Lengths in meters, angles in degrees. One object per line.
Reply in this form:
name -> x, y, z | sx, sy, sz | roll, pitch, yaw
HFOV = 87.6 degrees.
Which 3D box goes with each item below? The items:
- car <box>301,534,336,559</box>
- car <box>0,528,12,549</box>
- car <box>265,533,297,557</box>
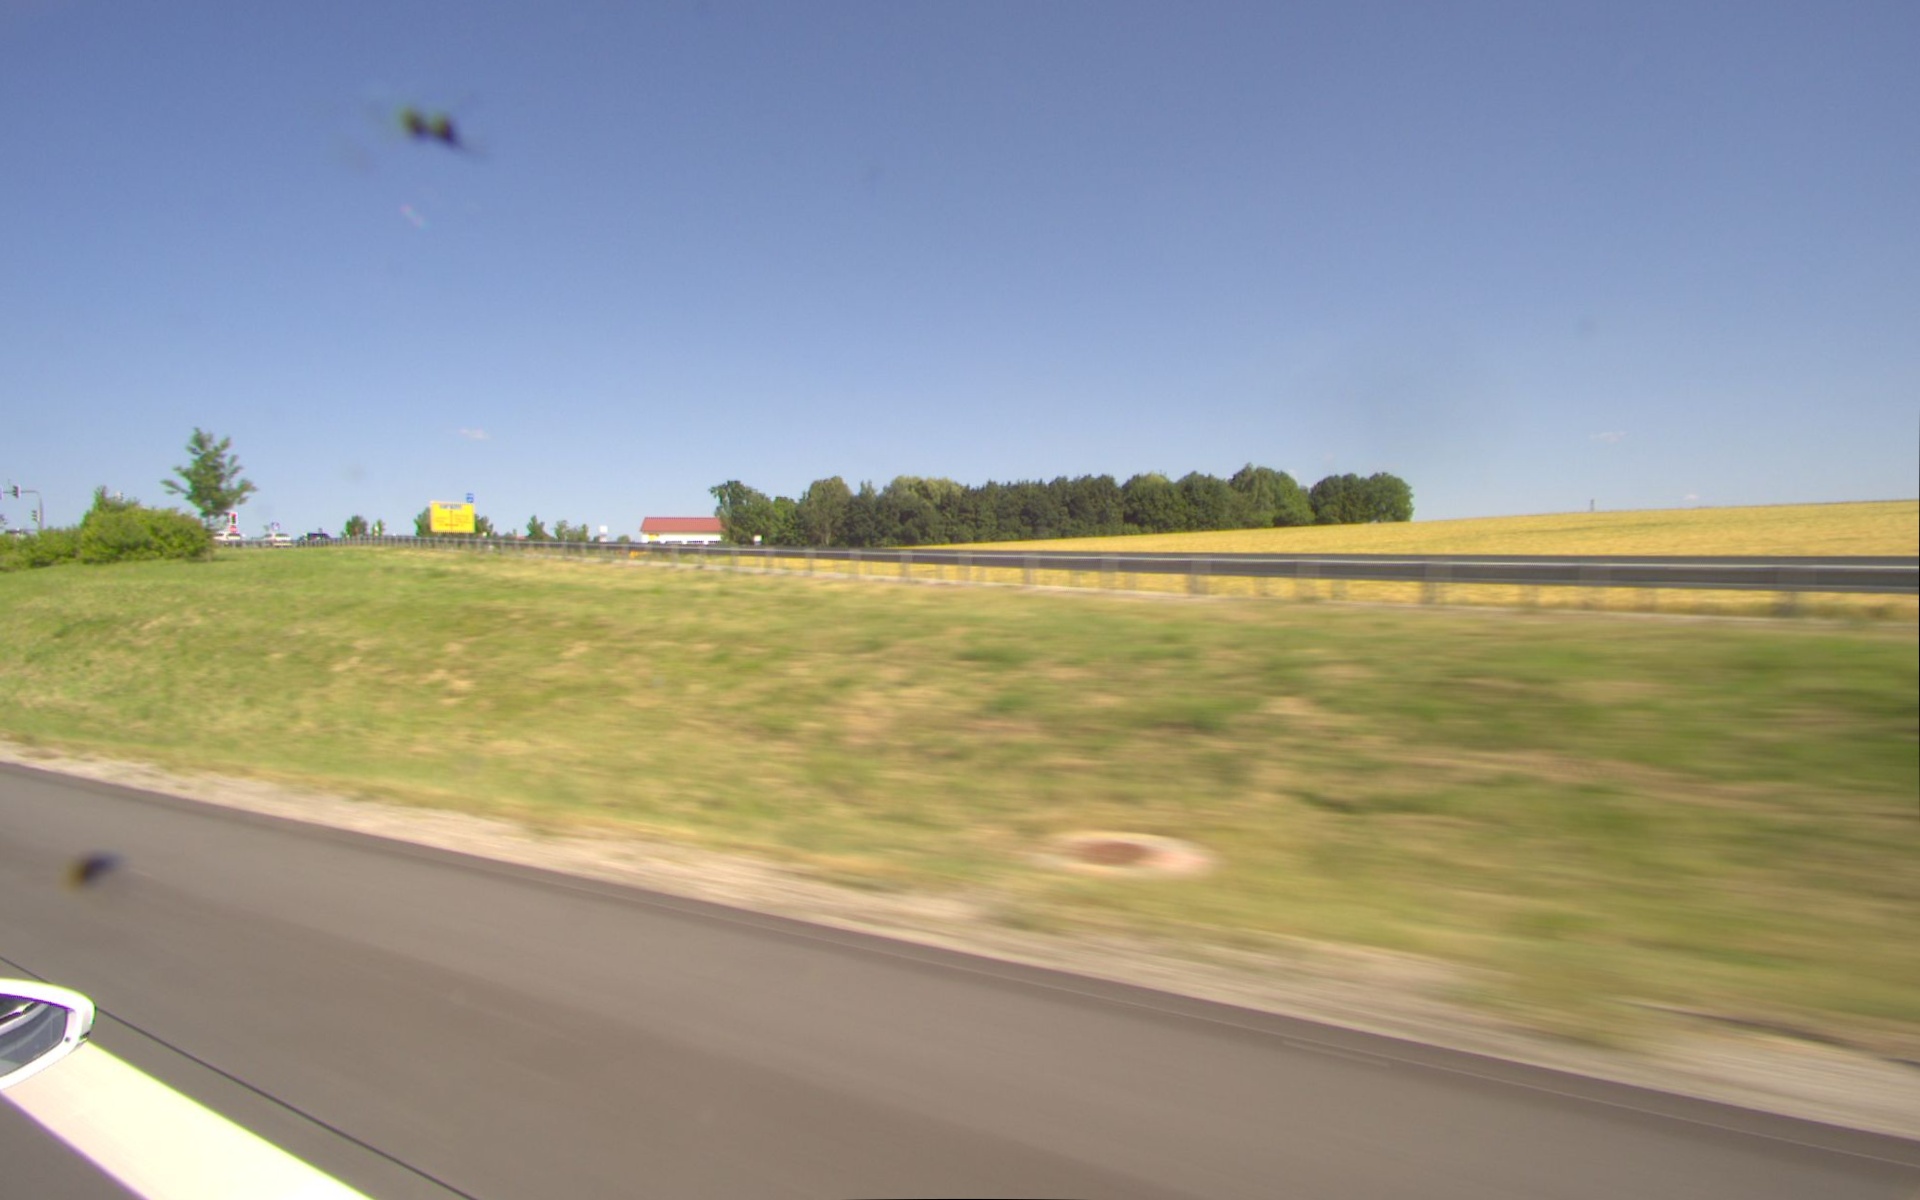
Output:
car -> -59.638, -4.945, 93.045 | 1.980, 2.041, 3.961 | -2, 1, -43
car -> -90.247, -5.691, 91.949 | 1.968, 1.907, 4.121 | 0, 1, 26
car -> -66.288, -5.306, 97.715 | 1.980, 2.040, 3.962 | 1, -1, -43
